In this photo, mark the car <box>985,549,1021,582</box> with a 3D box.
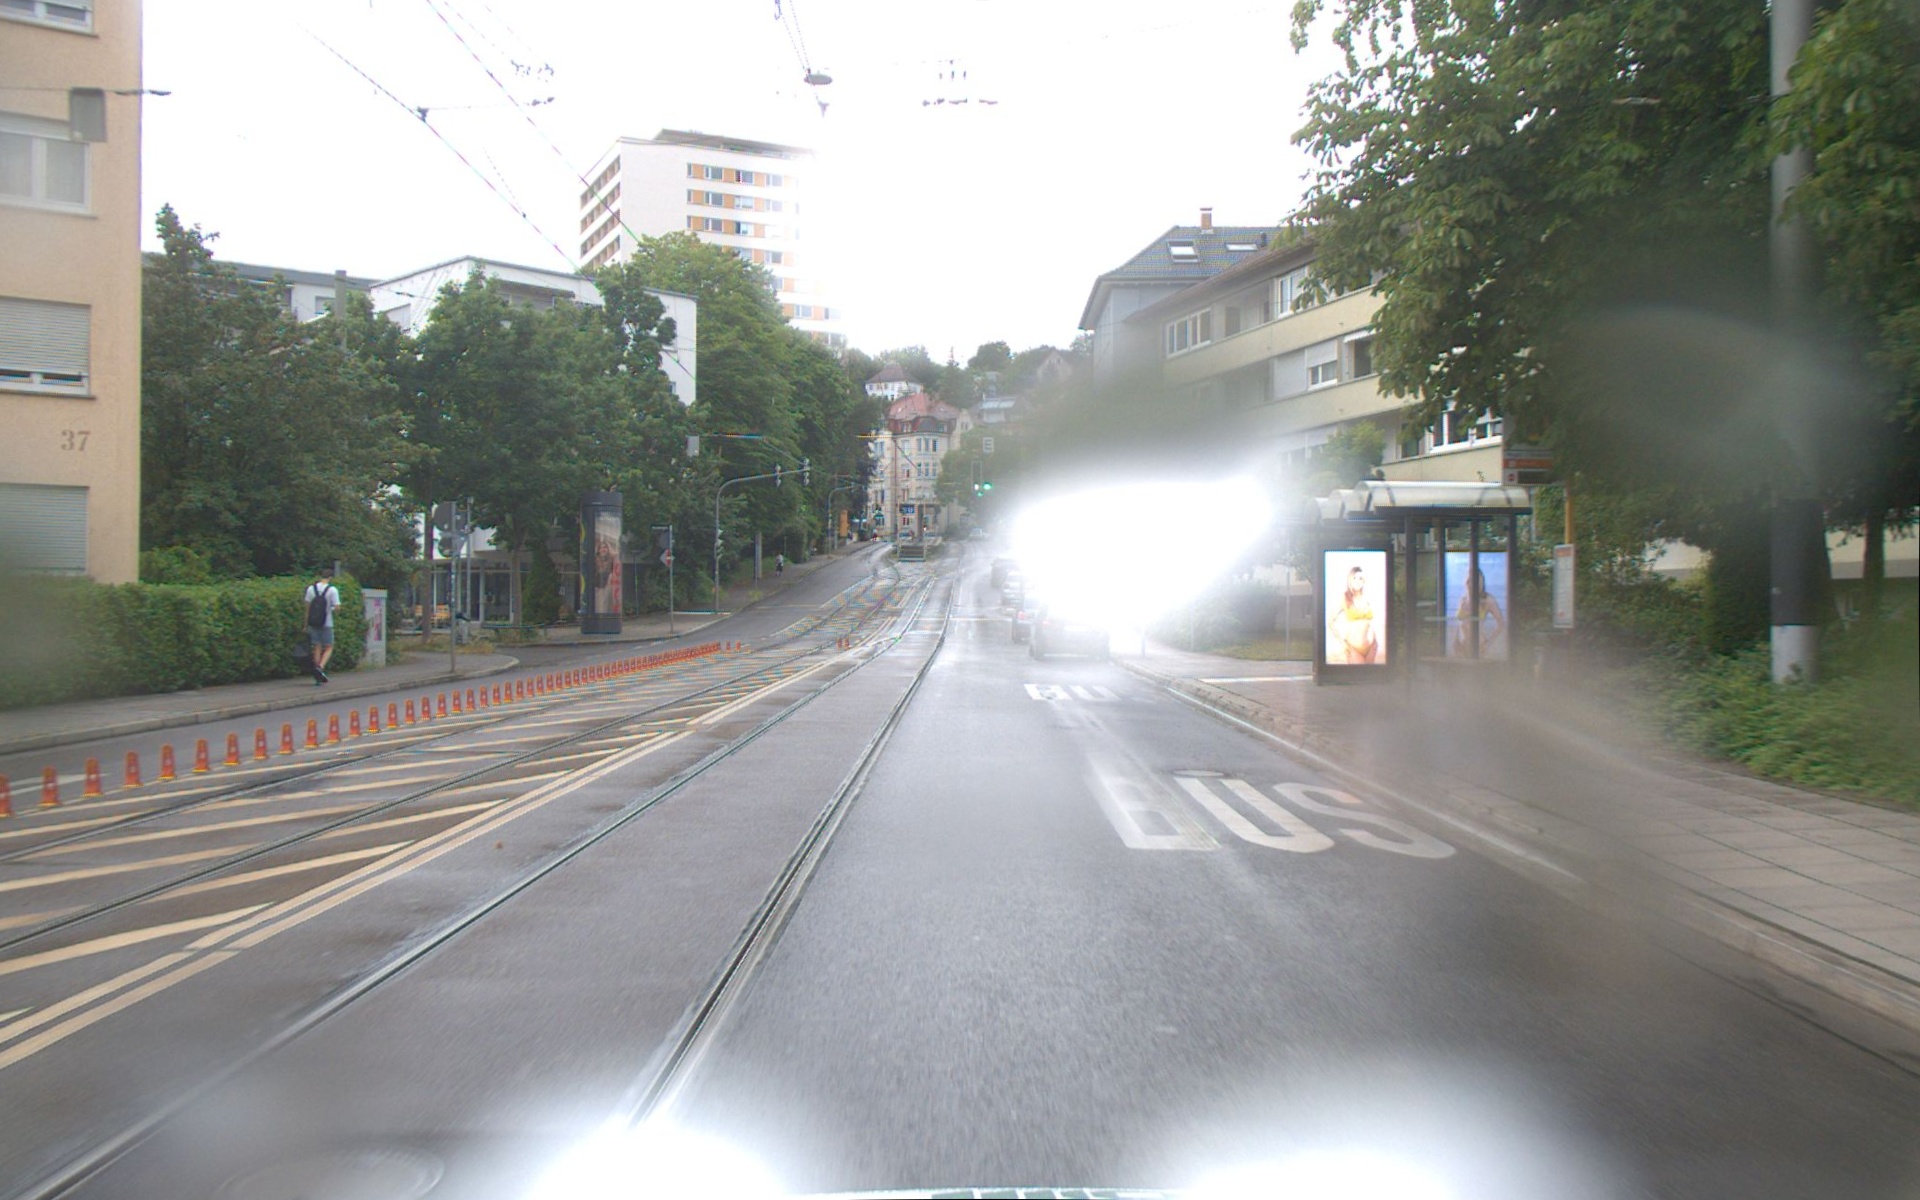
[{"bbox_3d":[2.397,-1.969,92.960,1.867,1.670,4.690,1,3,-1],"label":"car"}]

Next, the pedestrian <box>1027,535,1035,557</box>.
[{"bbox_3d":[5.452,-4.160,126.799,0.631,1.657,0.700,0,1,4],"label":"pedestrian"}]

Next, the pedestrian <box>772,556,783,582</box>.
[{"bbox_3d":[-11.538,-1.969,104.555,0.571,1.628,0.869,2,2,-4],"label":"pedestrian"}]

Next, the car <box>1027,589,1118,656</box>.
[{"bbox_3d":[2.677,0.511,40.359,1.820,1.513,4.644,1,0,-1],"label":"car"}]

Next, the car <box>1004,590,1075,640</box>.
[{"bbox_3d":[2.449,0.431,51.832,1.900,1.489,4.205,1,0,-2],"label":"car"}]

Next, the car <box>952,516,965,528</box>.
[{"bbox_3d":[-0.160,-11.668,246.795,1.867,1.670,4.690,1,3,-1],"label":"car"}]

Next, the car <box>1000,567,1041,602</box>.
[{"bbox_3d":[2.791,-0.744,76.853,1.670,1.458,4.102,1,3,-1],"label":"car"}]

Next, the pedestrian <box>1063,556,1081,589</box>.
[{"bbox_3d":[5.731,-1.410,84.830,0.864,1.610,0.802,-1,4,2],"label":"pedestrian"}]

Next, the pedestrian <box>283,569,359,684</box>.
[{"bbox_3d":[-10.727,0.448,27.800,0.901,1.878,1.016,1,-1,-5],"label":"pedestrian"}]

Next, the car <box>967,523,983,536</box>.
[{"bbox_3d":[1.944,-9.203,215.782,1.867,1.670,4.690,1,3,-1],"label":"car"}]

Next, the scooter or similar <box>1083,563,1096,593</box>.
[{"bbox_3d":[6.060,-1.047,77.419,0.562,1.270,1.612,0,5,5],"label":"scooter or similar"}]
